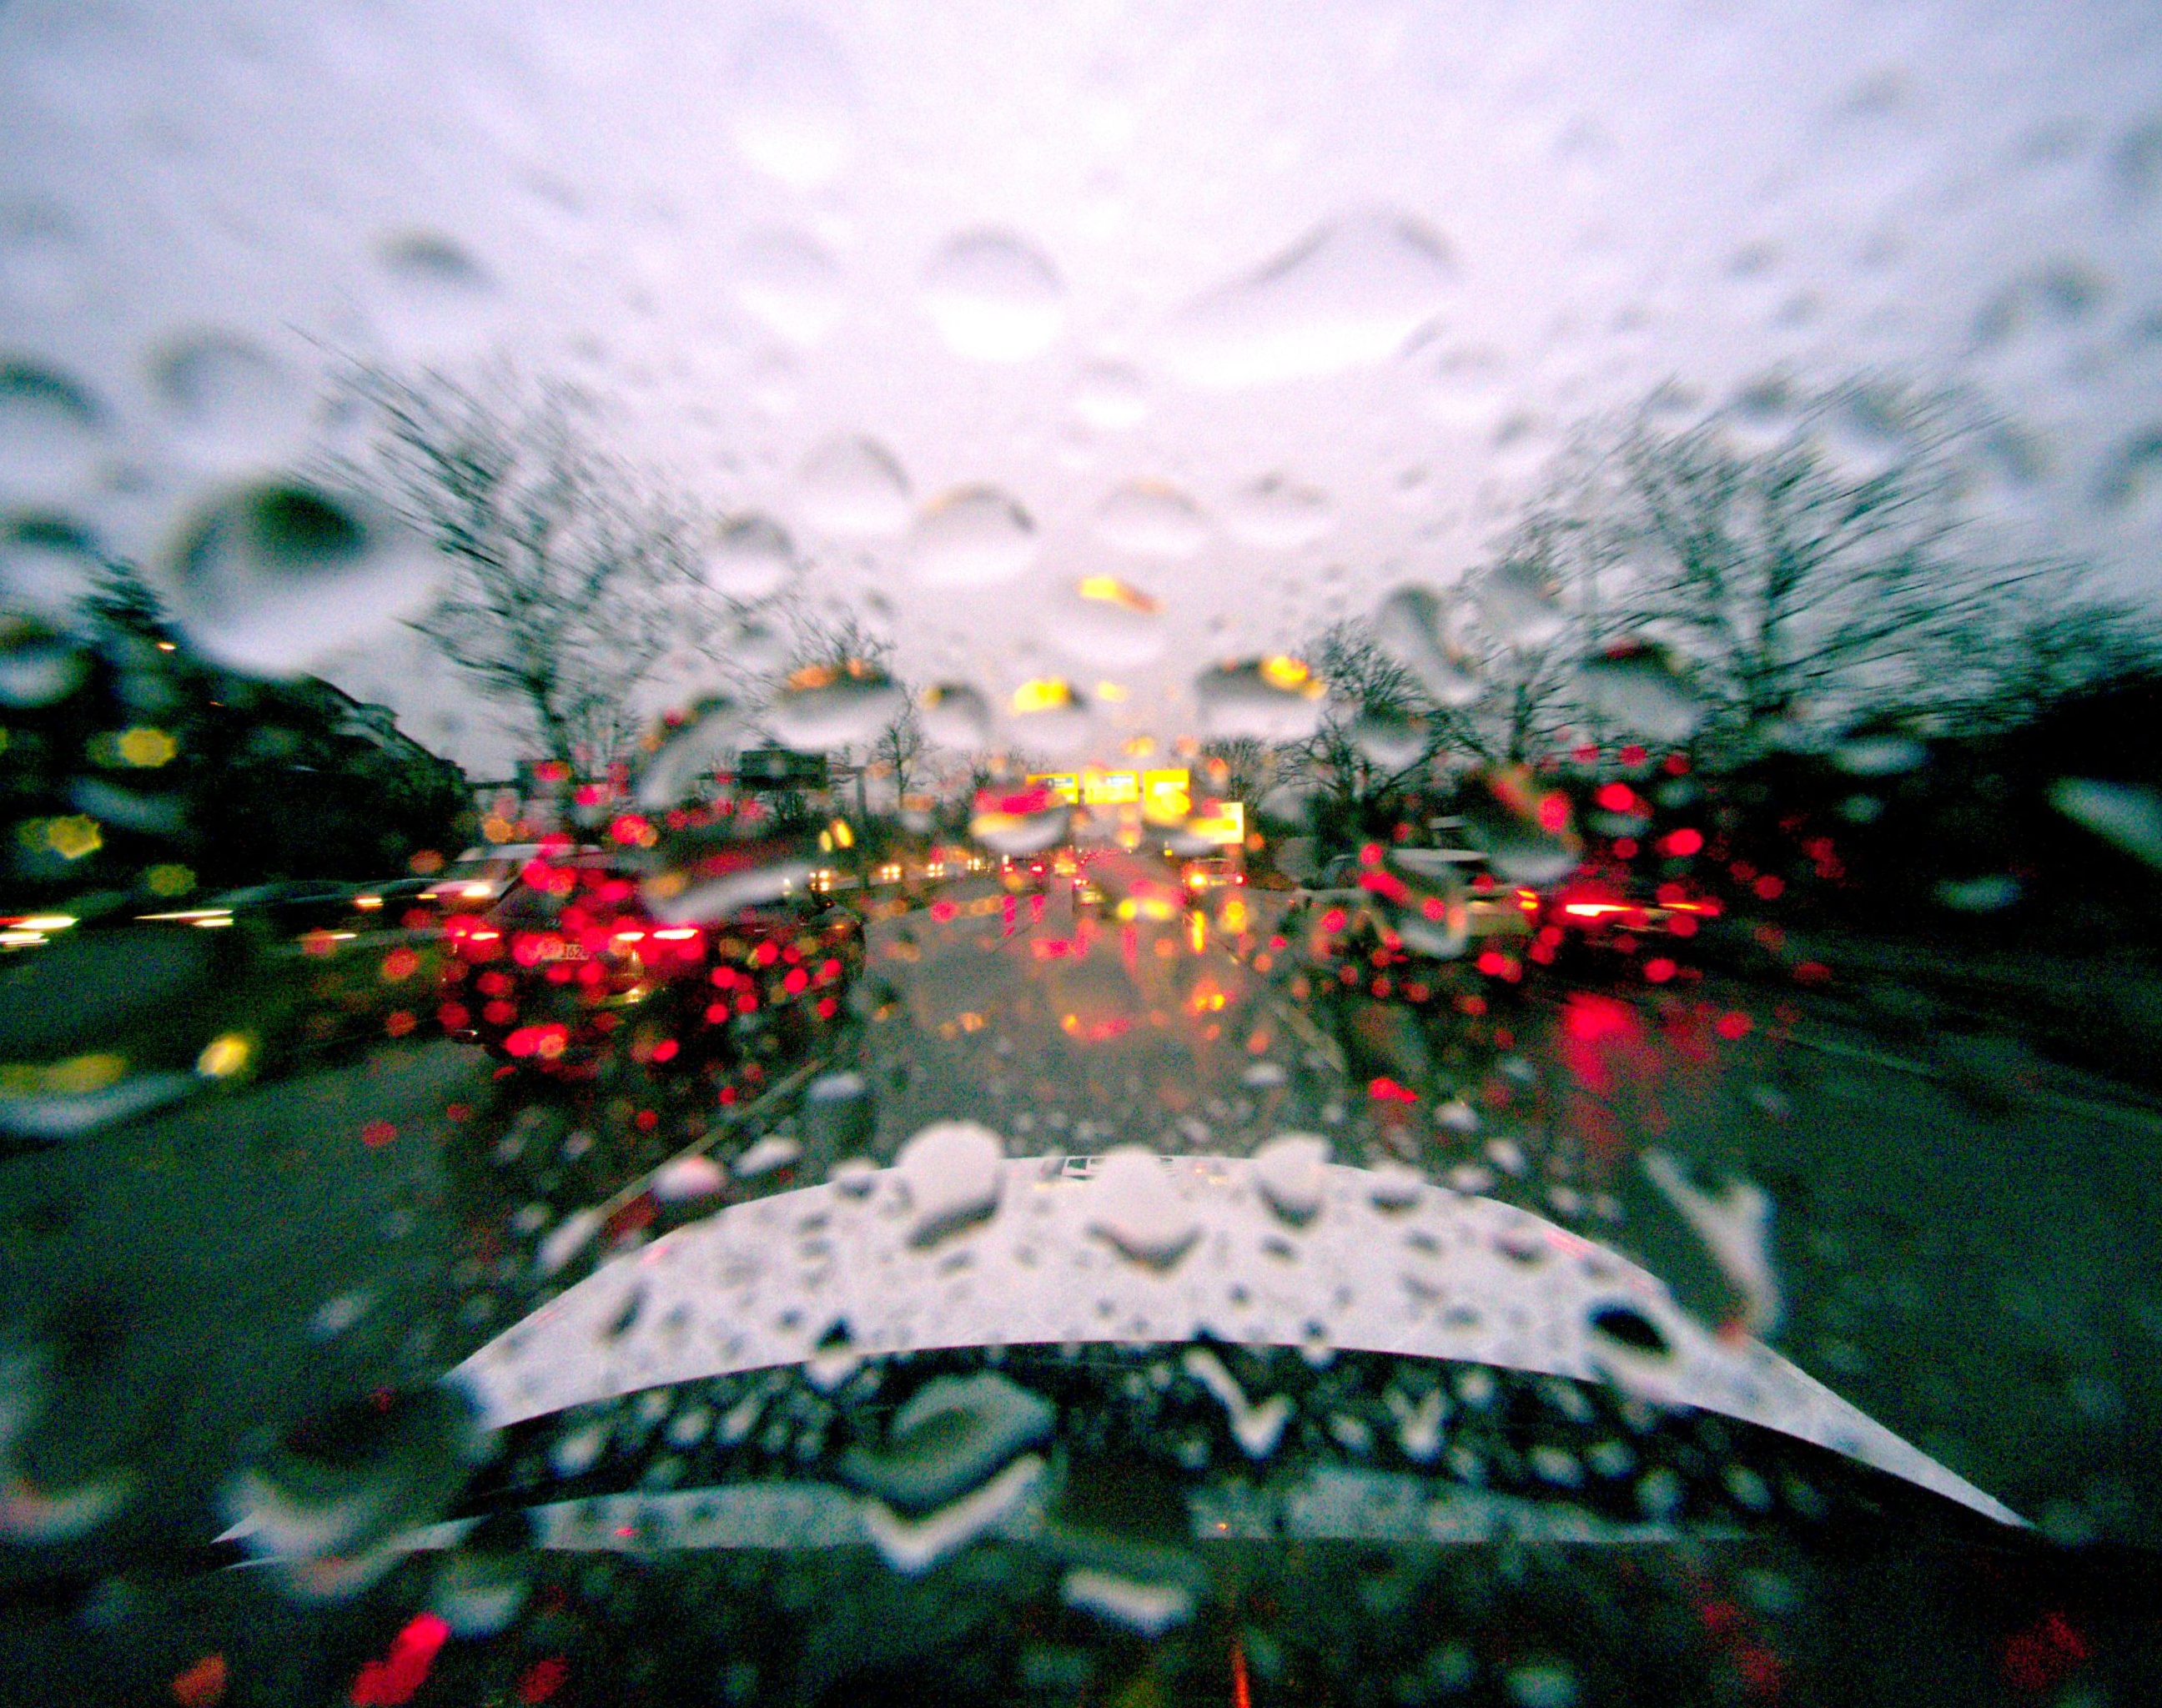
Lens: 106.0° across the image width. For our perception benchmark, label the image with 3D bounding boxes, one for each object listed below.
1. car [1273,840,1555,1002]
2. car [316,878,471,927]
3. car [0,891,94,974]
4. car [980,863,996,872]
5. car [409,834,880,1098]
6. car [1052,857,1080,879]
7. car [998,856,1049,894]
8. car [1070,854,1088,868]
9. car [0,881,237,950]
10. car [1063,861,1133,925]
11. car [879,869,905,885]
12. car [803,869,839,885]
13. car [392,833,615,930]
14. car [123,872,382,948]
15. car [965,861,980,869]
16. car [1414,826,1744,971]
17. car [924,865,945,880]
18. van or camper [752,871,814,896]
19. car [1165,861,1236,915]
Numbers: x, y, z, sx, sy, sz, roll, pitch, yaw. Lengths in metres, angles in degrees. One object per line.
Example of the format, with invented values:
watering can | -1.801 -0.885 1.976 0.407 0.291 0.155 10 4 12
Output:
car | 3.965 0.712 10.633 1.810 1.618 4.409 -2 -1 -1
car | -23.158 1.593 27.655 1.749 1.398 4.001 -2 -1 2
car | -20.906 1.511 14.141 1.763 1.490 4.651 -2 0 2
car | -14.469 2.113 126.468 1.745 1.308 4.318 -1 0 2
car | -3.378 0.745 7.503 1.816 1.648 4.467 -2 -1 1
car | -1.128 1.077 63.383 1.815 1.648 4.003 -2 -1 3
car | -2.624 0.944 37.849 1.815 1.648 4.003 -2 -1 3
car | -0.192 0.718 81.842 1.499 1.339 4.003 -2 -1 3
car | -23.892 1.451 20.139 1.749 1.398 4.001 -2 -1 2
car | 0.548 1.050 23.422 1.815 1.648 4.469 0 -1 3
car | -23.986 2.933 103.334 1.985 1.851 4.430 -1 0 4
car | -25.018 2.207 78.523 1.985 1.477 4.076 -1 0 3
car | -20.060 0.922 28.986 2.282 3.005 7.353 -1 -1 4
car | -20.437 1.308 20.434 1.762 1.536 4.450 -2 0 3
car | -18.623 1.858 139.675 1.745 1.308 4.318 -1 0 2
car | 6.837 0.550 11.931 1.961 1.619 4.545 -3 -1 -1
car | -17.576 2.192 97.938 1.778 1.627 3.575 -1 0 1
van or camper | -19.081 1.833 52.391 1.896 1.446 5.161 -1 -1 2
car | 3.889 1.083 27.200 1.925 1.648 4.469 0 -1 3
